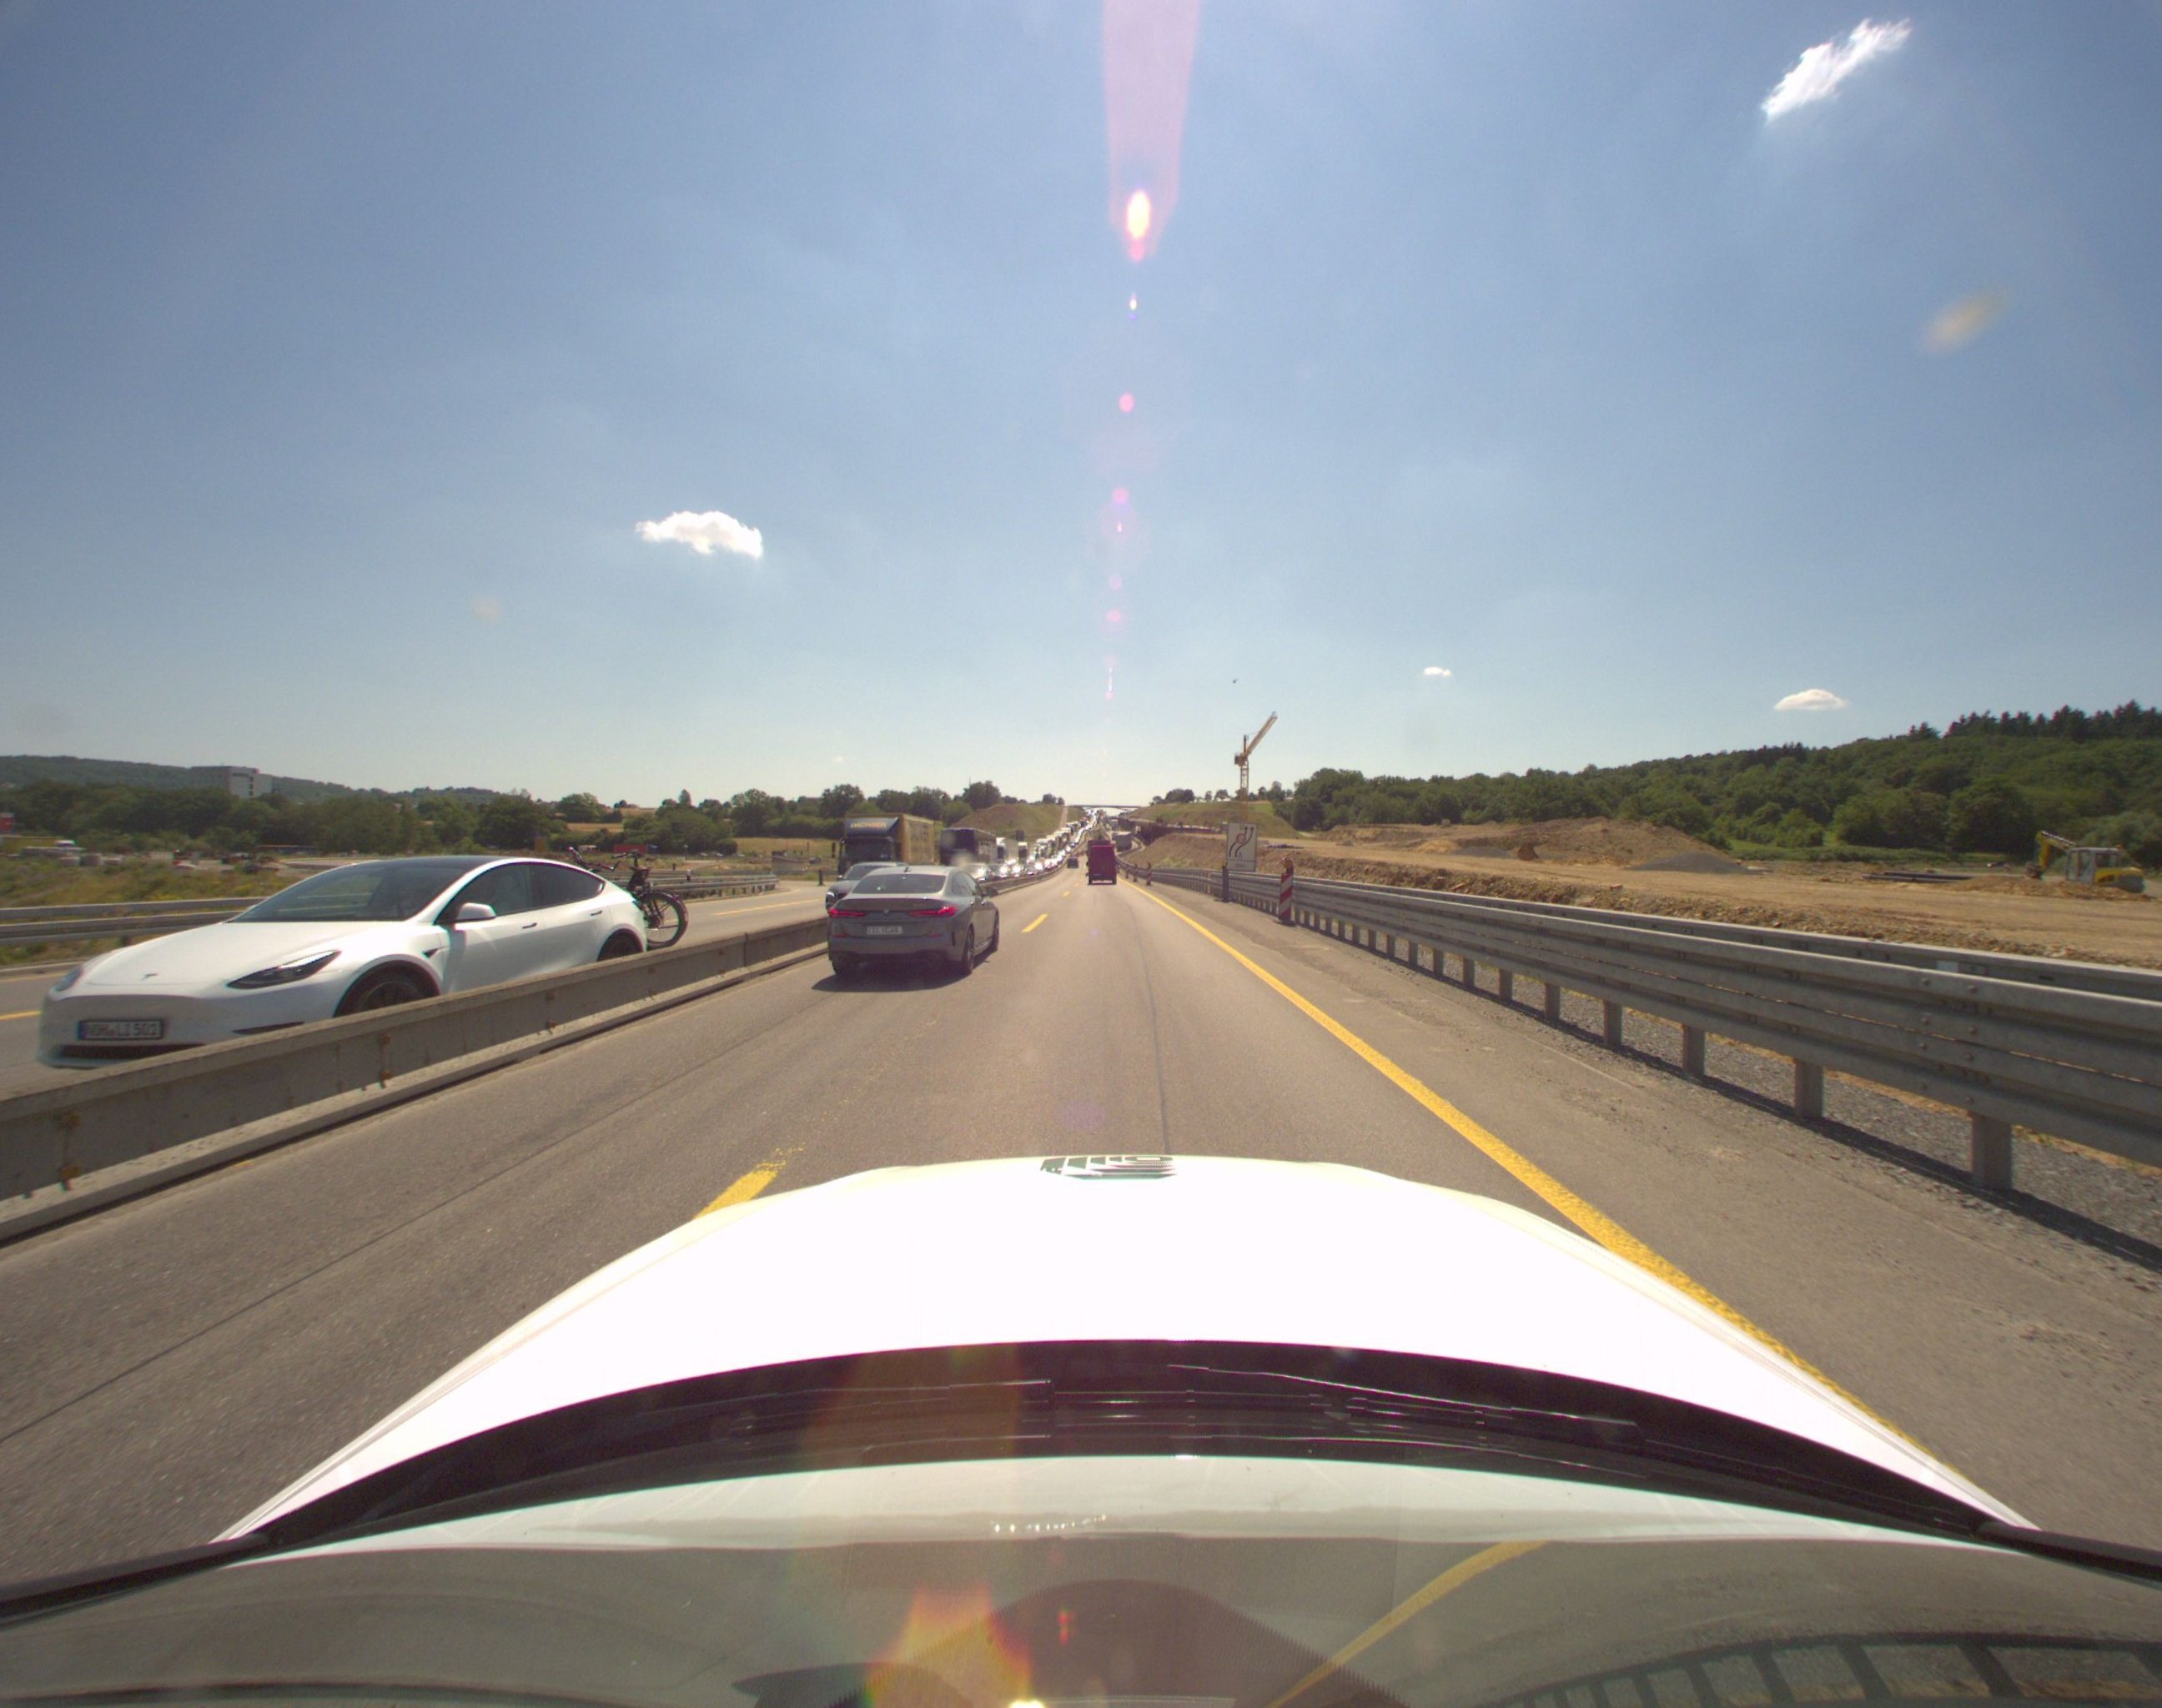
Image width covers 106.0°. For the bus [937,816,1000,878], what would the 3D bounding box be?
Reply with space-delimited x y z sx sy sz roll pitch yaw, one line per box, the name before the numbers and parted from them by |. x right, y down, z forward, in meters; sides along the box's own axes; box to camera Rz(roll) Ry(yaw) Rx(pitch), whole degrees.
bus | -8.381 -0.590 62.849 2.730 4.263 14.476 0 1 0

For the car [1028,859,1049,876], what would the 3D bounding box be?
car | -4.593 1.432 88.159 1.987 1.620 4.882 0 1 0

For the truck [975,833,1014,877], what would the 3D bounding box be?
truck | -8.440 0.071 80.161 3.087 4.198 6.700 0 0 0

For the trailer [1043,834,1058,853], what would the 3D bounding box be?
trailer | -6.742 -2.271 182.867 2.774 3.931 11.007 0 0 0

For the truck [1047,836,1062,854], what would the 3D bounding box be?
truck | -6.541 -2.242 201.247 3.039 4.480 5.986 0 0 4

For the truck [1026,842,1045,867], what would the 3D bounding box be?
truck | -7.201 0.076 129.108 2.517 3.856 8.670 0 0 0

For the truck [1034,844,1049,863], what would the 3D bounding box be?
truck | -6.965 -0.166 143.957 2.426 3.148 7.022 -1 1 -1

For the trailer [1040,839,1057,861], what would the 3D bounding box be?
trailer | -6.304 -0.813 160.235 2.585 4.257 12.470 0 0 1

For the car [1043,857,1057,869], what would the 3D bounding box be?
car | -4.472 1.306 116.885 1.821 1.574 4.000 0 1 0

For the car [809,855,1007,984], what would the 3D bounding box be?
car | -2.276 0.784 12.053 1.845 1.452 4.743 0 1 1

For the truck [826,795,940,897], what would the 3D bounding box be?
truck | -8.957 -0.289 38.276 2.793 4.152 10.078 0 0 0

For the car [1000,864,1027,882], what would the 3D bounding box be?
car | -5.395 1.502 65.706 1.827 1.423 4.682 0 -1 0

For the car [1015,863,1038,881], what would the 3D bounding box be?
car | -4.990 1.615 74.857 1.807 1.437 5.120 1 1 0

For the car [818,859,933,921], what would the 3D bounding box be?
car | -5.623 0.926 23.005 1.876 1.432 5.125 1 1 0

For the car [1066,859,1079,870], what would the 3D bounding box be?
car | -1.343 1.620 128.562 2.006 1.545 4.131 0 1 -1

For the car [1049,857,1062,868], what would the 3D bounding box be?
car | -3.967 1.313 127.820 1.987 1.557 4.338 0 1 0

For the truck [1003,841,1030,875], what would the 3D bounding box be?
truck | -8.138 0.554 103.108 2.968 4.185 5.871 0 0 -1

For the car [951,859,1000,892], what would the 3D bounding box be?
car | -5.296 1.054 41.493 1.853 1.494 4.903 -2 0 -1

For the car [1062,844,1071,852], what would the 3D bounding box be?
car | -3.428 -1.429 188.734 1.988 1.783 3.998 0 1 -1

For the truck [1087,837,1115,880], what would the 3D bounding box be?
truck | 2.340 0.462 96.006 3.009 4.692 6.935 -2 1 2

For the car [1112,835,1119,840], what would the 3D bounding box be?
car | 10.618 -5.170 252.960 1.946 1.641 4.268 0 1 1

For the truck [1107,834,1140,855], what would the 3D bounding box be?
truck | 10.667 -2.448 200.698 5.122 4.996 13.933 0 1 15

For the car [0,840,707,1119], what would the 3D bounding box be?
car | -6.223 0.740 7.961 2.363 1.726 5.782 0 1 1

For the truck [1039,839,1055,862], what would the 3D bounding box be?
truck | -6.340 -0.726 152.428 2.542 4.230 6.531 0 1 1

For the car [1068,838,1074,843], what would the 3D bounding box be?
car | -2.823 -3.850 230.901 1.741 1.409 4.000 0 0 1

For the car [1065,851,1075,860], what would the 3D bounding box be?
car | -2.124 0.287 162.887 1.821 1.535 4.546 -2 0 0

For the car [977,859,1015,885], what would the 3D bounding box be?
car | -5.238 1.076 50.826 1.832 1.443 4.930 0 1 0

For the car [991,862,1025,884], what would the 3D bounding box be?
car | -5.154 1.291 58.250 1.911 1.423 5.090 1 0 0

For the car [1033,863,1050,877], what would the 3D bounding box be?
car | -5.103 2.053 105.118 1.987 1.631 4.757 1 1 0

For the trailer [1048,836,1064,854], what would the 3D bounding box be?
trailer | -6.206 -2.283 206.936 3.029 4.552 12.138 0 1 3

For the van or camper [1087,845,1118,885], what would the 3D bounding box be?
van or camper | 1.471 0.728 57.518 2.023 2.744 4.513 0 1 -1
